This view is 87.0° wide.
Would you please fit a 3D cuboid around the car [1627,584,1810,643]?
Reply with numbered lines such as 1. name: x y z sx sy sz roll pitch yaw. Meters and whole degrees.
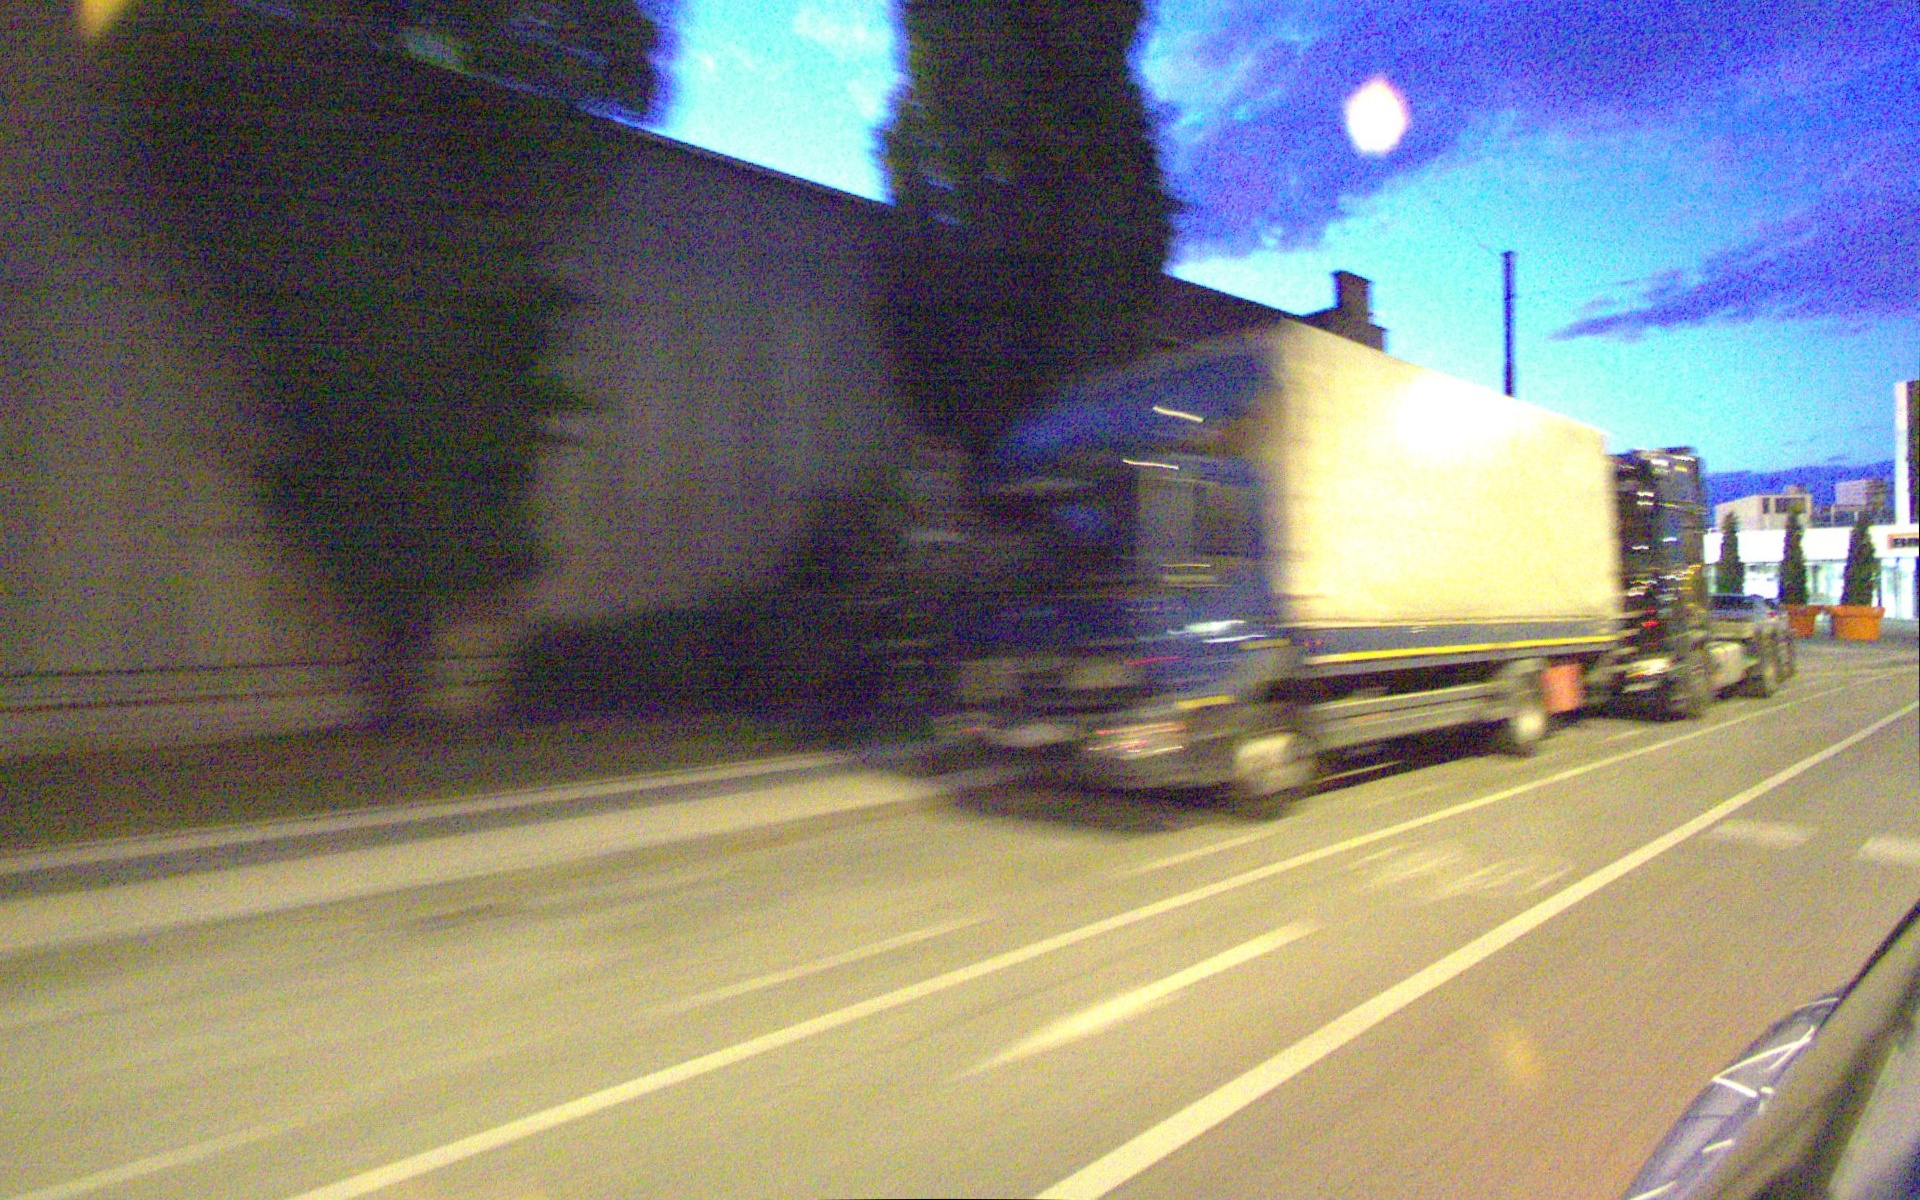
1. car: 23.961 0.377 32.115 1.859 1.667 4.335 0 2 -40

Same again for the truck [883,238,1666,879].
1. truck: 4.082 -0.285 10.396 10.046 3.831 2.760 -1 0 -41

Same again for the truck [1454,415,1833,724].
1. truck: 11.486 -0.413 16.506 8.975 3.831 2.760 -1 0 -40
